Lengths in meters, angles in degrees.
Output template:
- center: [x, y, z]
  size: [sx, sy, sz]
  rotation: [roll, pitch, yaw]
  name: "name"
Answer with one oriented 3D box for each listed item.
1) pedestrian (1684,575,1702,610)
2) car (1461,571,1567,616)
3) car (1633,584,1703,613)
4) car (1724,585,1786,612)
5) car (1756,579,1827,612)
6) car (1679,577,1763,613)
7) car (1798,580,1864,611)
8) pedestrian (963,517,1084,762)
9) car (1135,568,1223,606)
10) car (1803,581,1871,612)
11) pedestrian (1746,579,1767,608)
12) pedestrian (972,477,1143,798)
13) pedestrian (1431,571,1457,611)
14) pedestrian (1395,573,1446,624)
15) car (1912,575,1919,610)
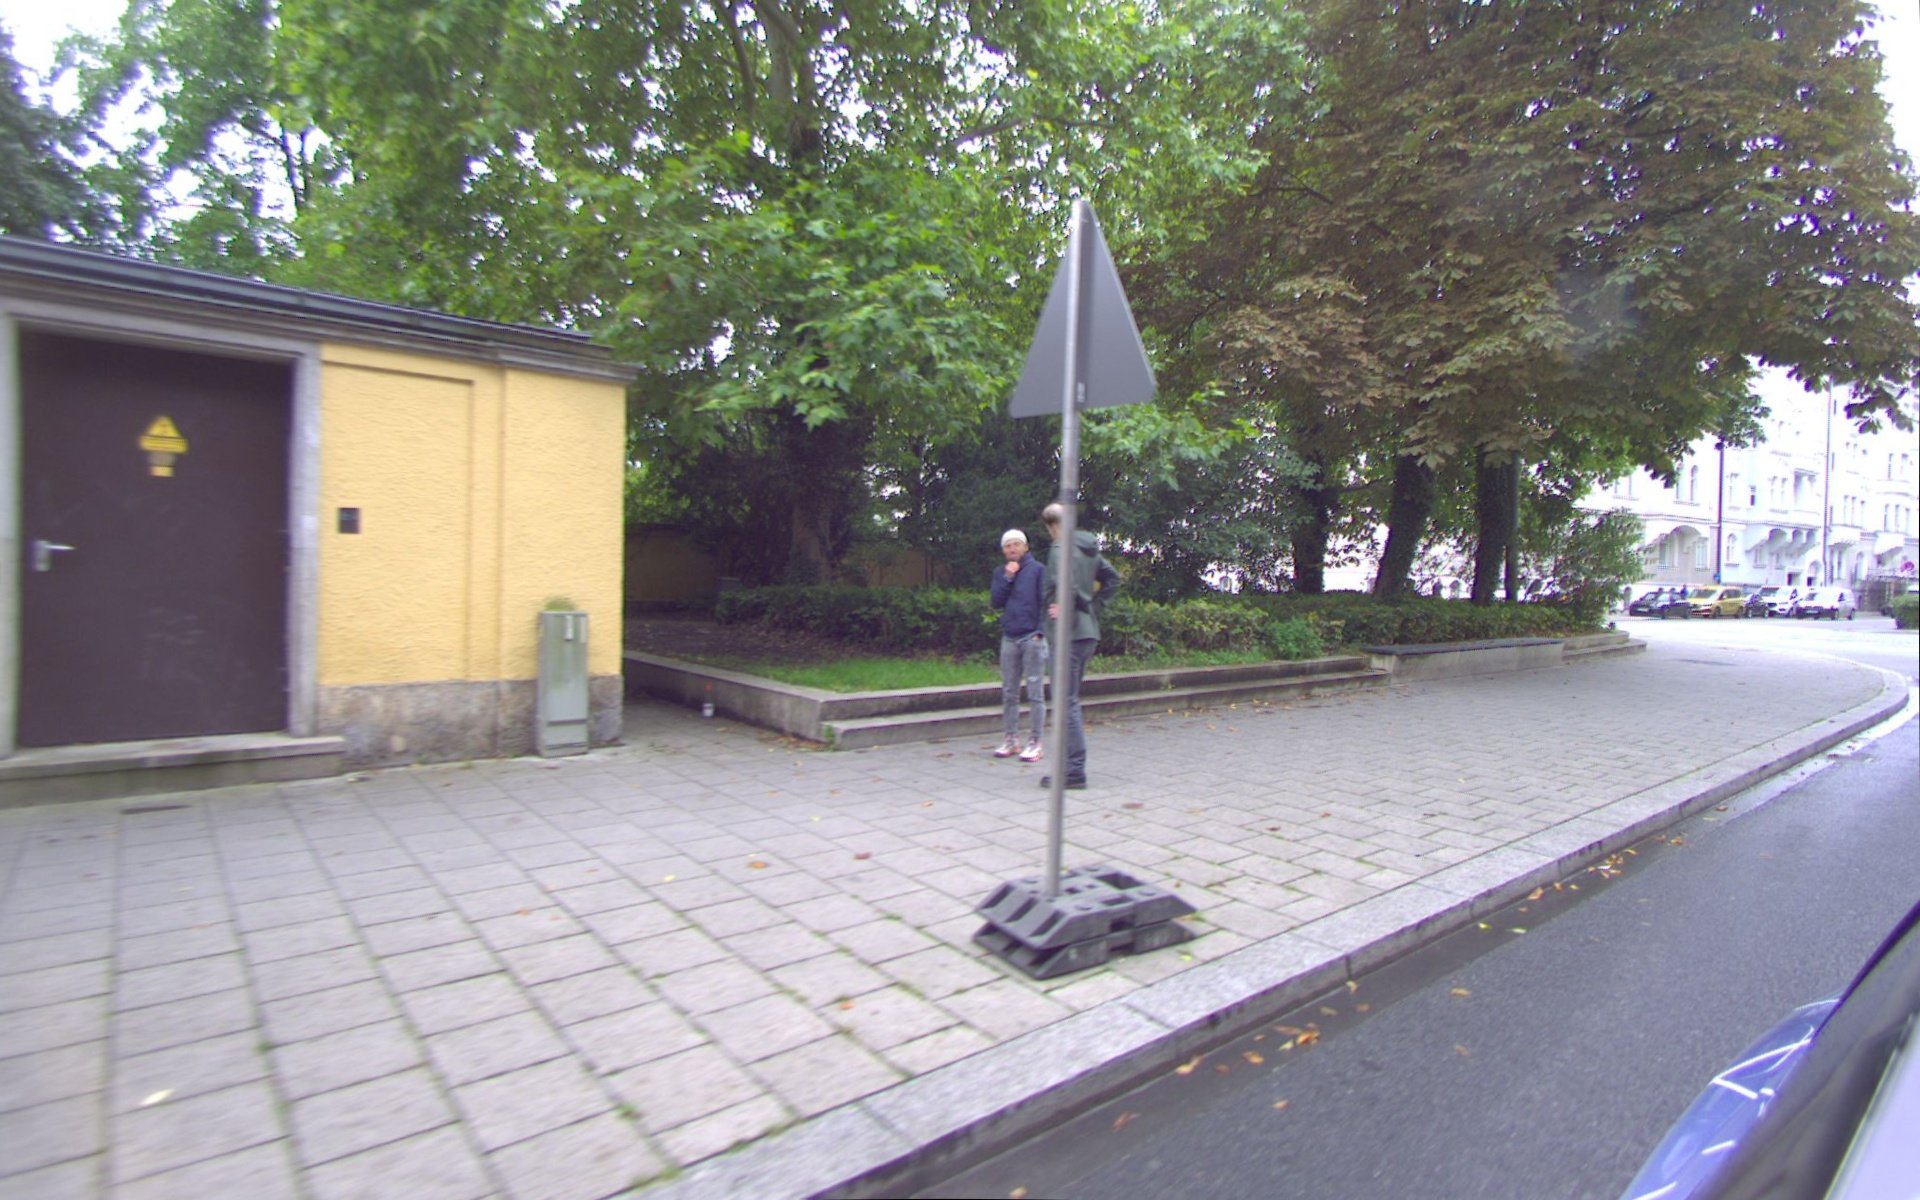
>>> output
- center: [43.100, -0.420, 59.522]
  size: [0.713, 2.039, 0.586]
  rotation: [1, 1, -30]
  name: "pedestrian"
- center: [25.575, -0.289, 46.667]
  size: [5.270, 1.945, 1.946]
  rotation: [0, 2, -33]
  name: "car"
- center: [37.497, -0.091, 53.583]
  size: [3.752, 1.463, 1.719]
  rotation: [0, 2, -32]
  name: "car"
- center: [46.625, -0.081, 59.353]
  size: [3.808, 1.533, 1.640]
  rotation: [0, 1, -32]
  name: "car"
- center: [51.262, -0.275, 62.360]
  size: [4.791, 1.942, 2.002]
  rotation: [0, 2, -33]
  name: "car"
- center: [42.427, -0.281, 56.416]
  size: [4.478, 1.942, 2.003]
  rotation: [0, 2, -28]
  name: "car"
- center: [57.066, -0.318, 66.281]
  size: [4.783, 1.942, 2.002]
  rotation: [0, 2, -33]
  name: "car"
- center: [0.473, 0.259, 7.423]
  size: [0.629, 1.688, 0.690]
  rotation: [2, 1, 28]
  name: "pedestrian"
- center: [11.002, -0.692, 51.167]
  size: [1.856, 1.817, 4.254]
  rotation: [0, 2, -32]
  name: "car"
- center: [50.362, -0.192, 58.092]
  size: [4.515, 1.678, 1.921]
  rotation: [0, 2, -36]
  name: "car"
- center: [53.955, -0.456, 68.524]
  size: [0.731, 1.926, 0.856]
  rotation: [1, 1, -29]
  name: "pedestrian"
- center: [0.645, 0.199, 6.462]
  size: [0.813, 1.859, 0.945]
  rotation: [2, 1, 23]
  name: "pedestrian"
- center: [22.853, -0.425, 47.824]
  size: [0.918, 1.823, 0.994]
  rotation: [1, 1, 18]
  name: "pedestrian"
- center: [12.708, -0.039, 27.931]
  size: [1.109, 1.373, 0.772]
  rotation: [1, 1, -31]
  name: "pedestrian"
- center: [77.467, -0.569, 80.383]
  size: [5.350, 2.721, 2.081]
  rotation: [0, 3, -41]
  name: "car"
